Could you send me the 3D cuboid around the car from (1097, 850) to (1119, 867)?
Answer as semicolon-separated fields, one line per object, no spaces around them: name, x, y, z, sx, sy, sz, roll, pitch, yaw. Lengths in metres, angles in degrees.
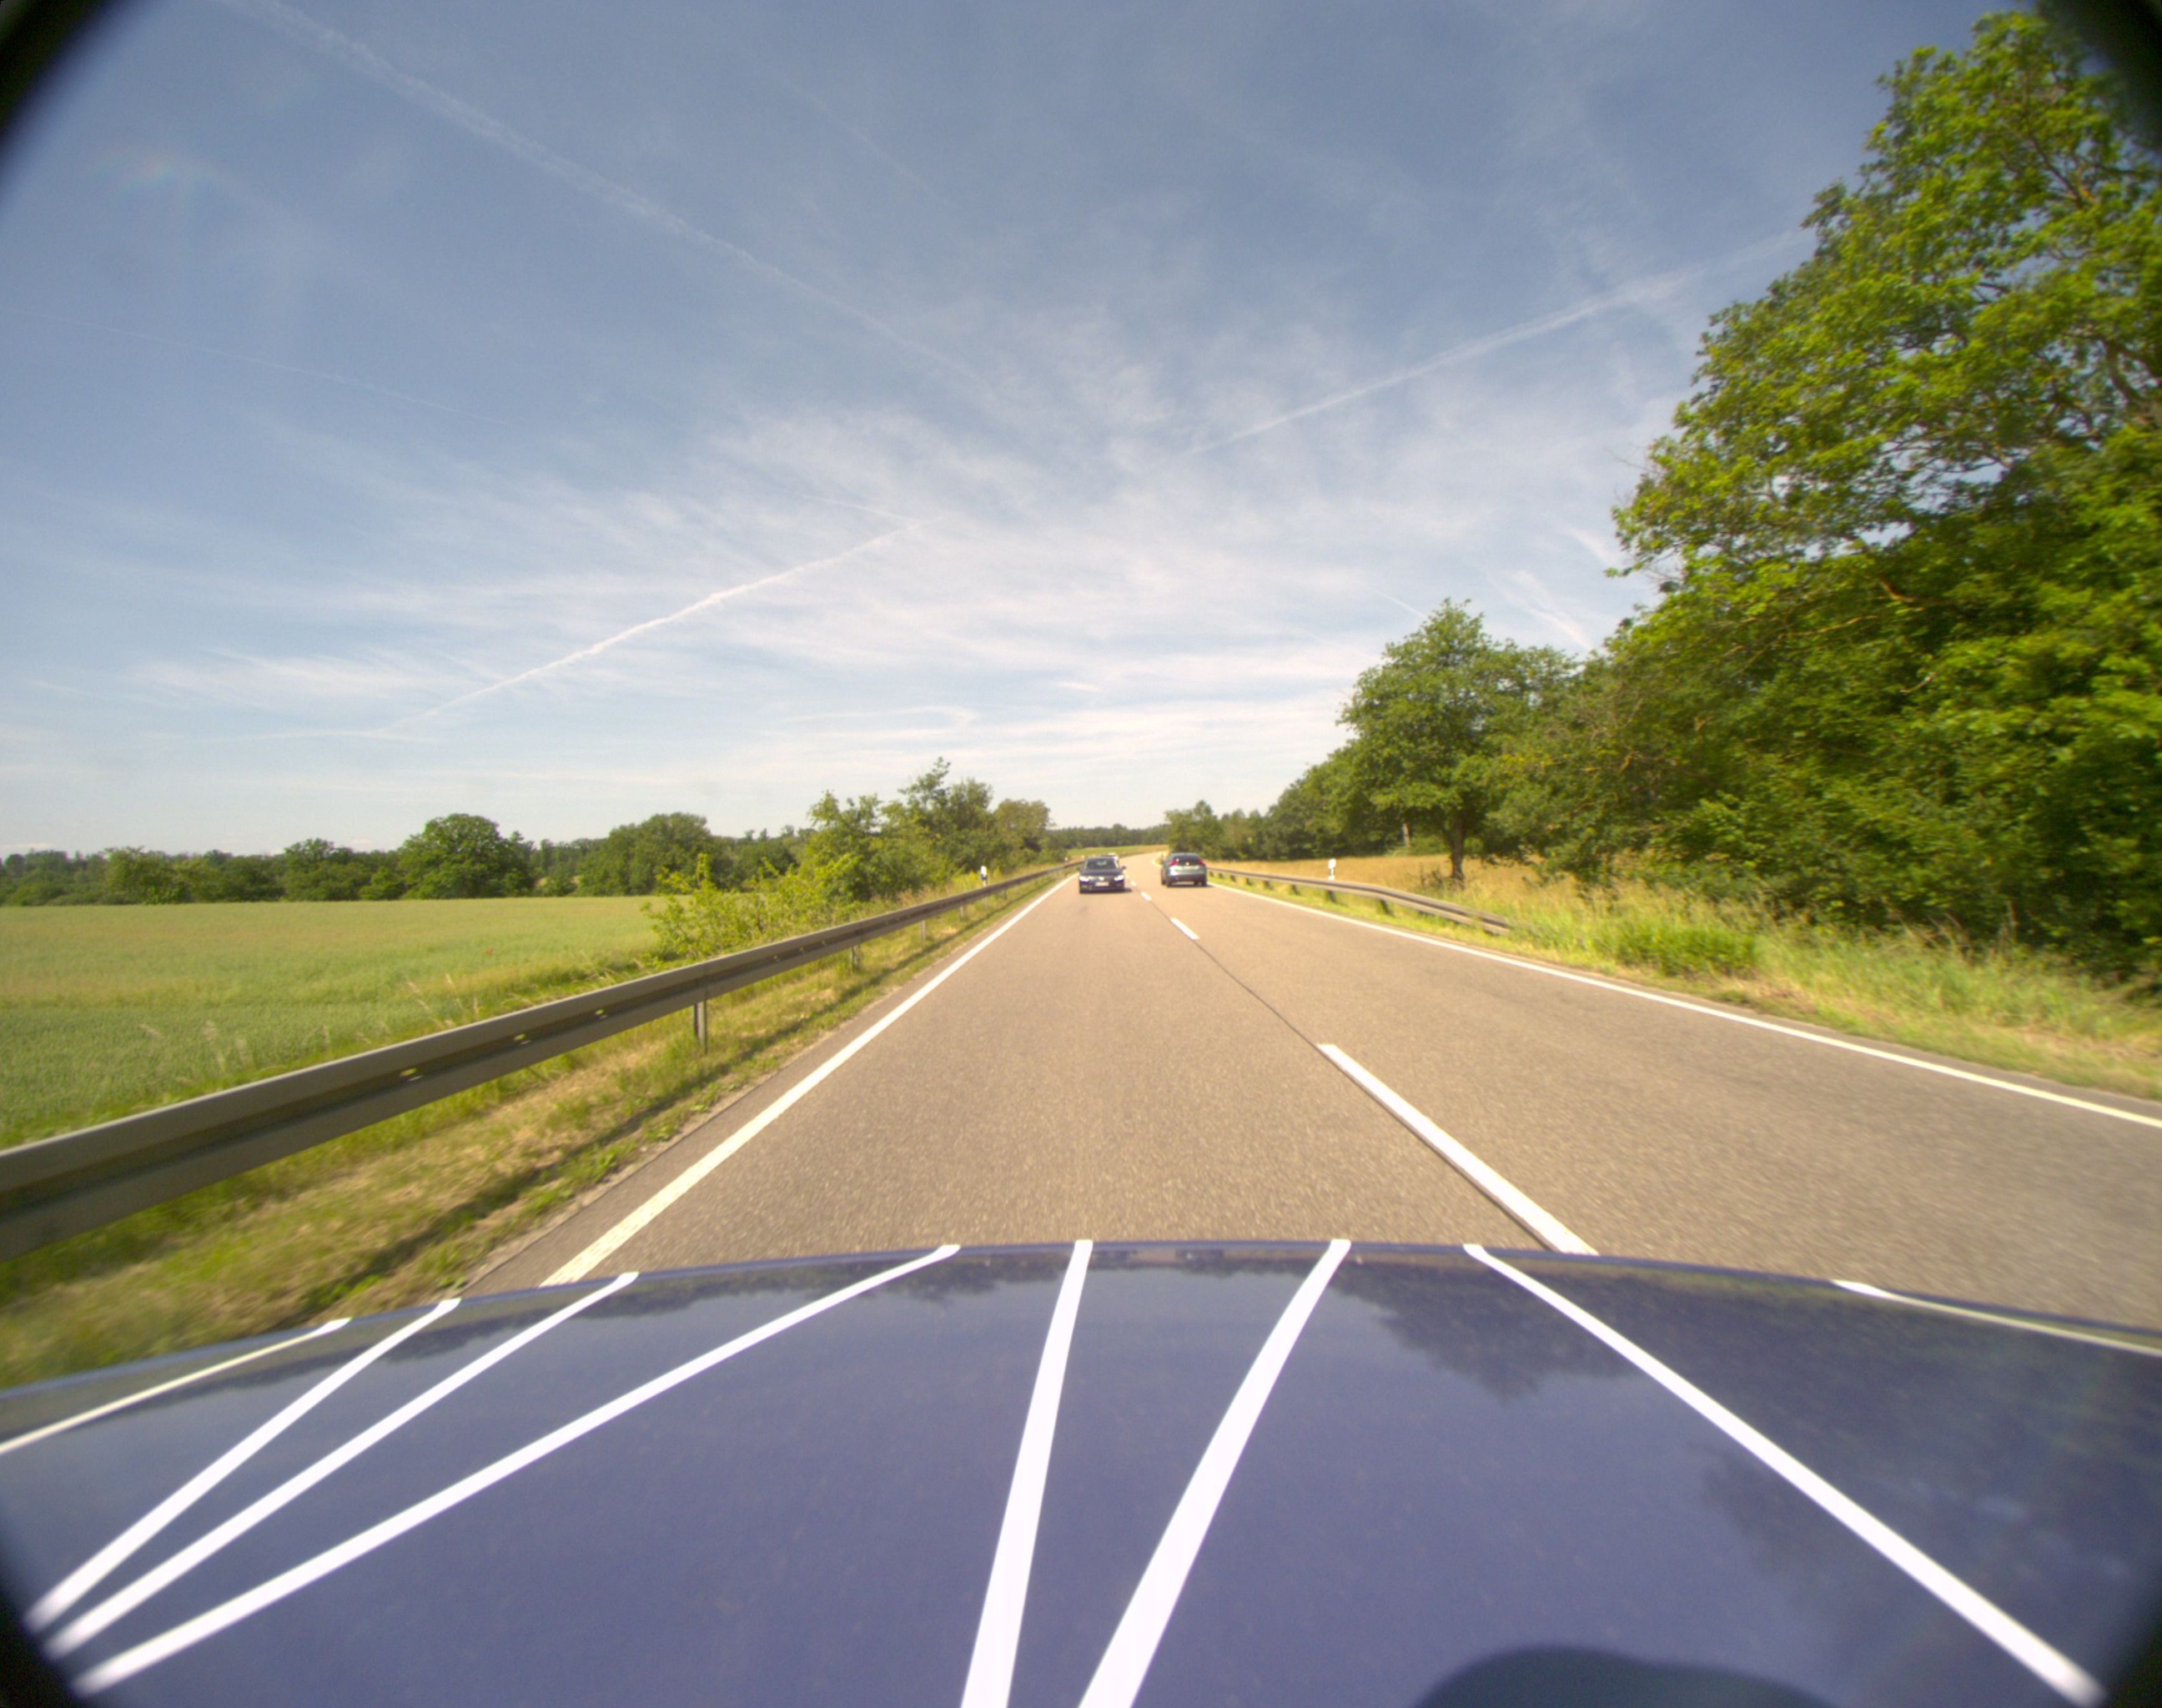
car;2.589;0.449;72.190;1.928;1.501;4.292;-2;0;2

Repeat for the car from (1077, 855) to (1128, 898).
car;0.878;0.829;30.169;1.821;1.501;4.501;-3;-1;2

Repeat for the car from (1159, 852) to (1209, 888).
car;4.686;0.673;34.931;1.749;1.506;4.053;-1;0;1

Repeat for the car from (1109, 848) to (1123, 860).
car;4.999;0.009;109.018;1.928;1.501;4.292;-2;0;1
